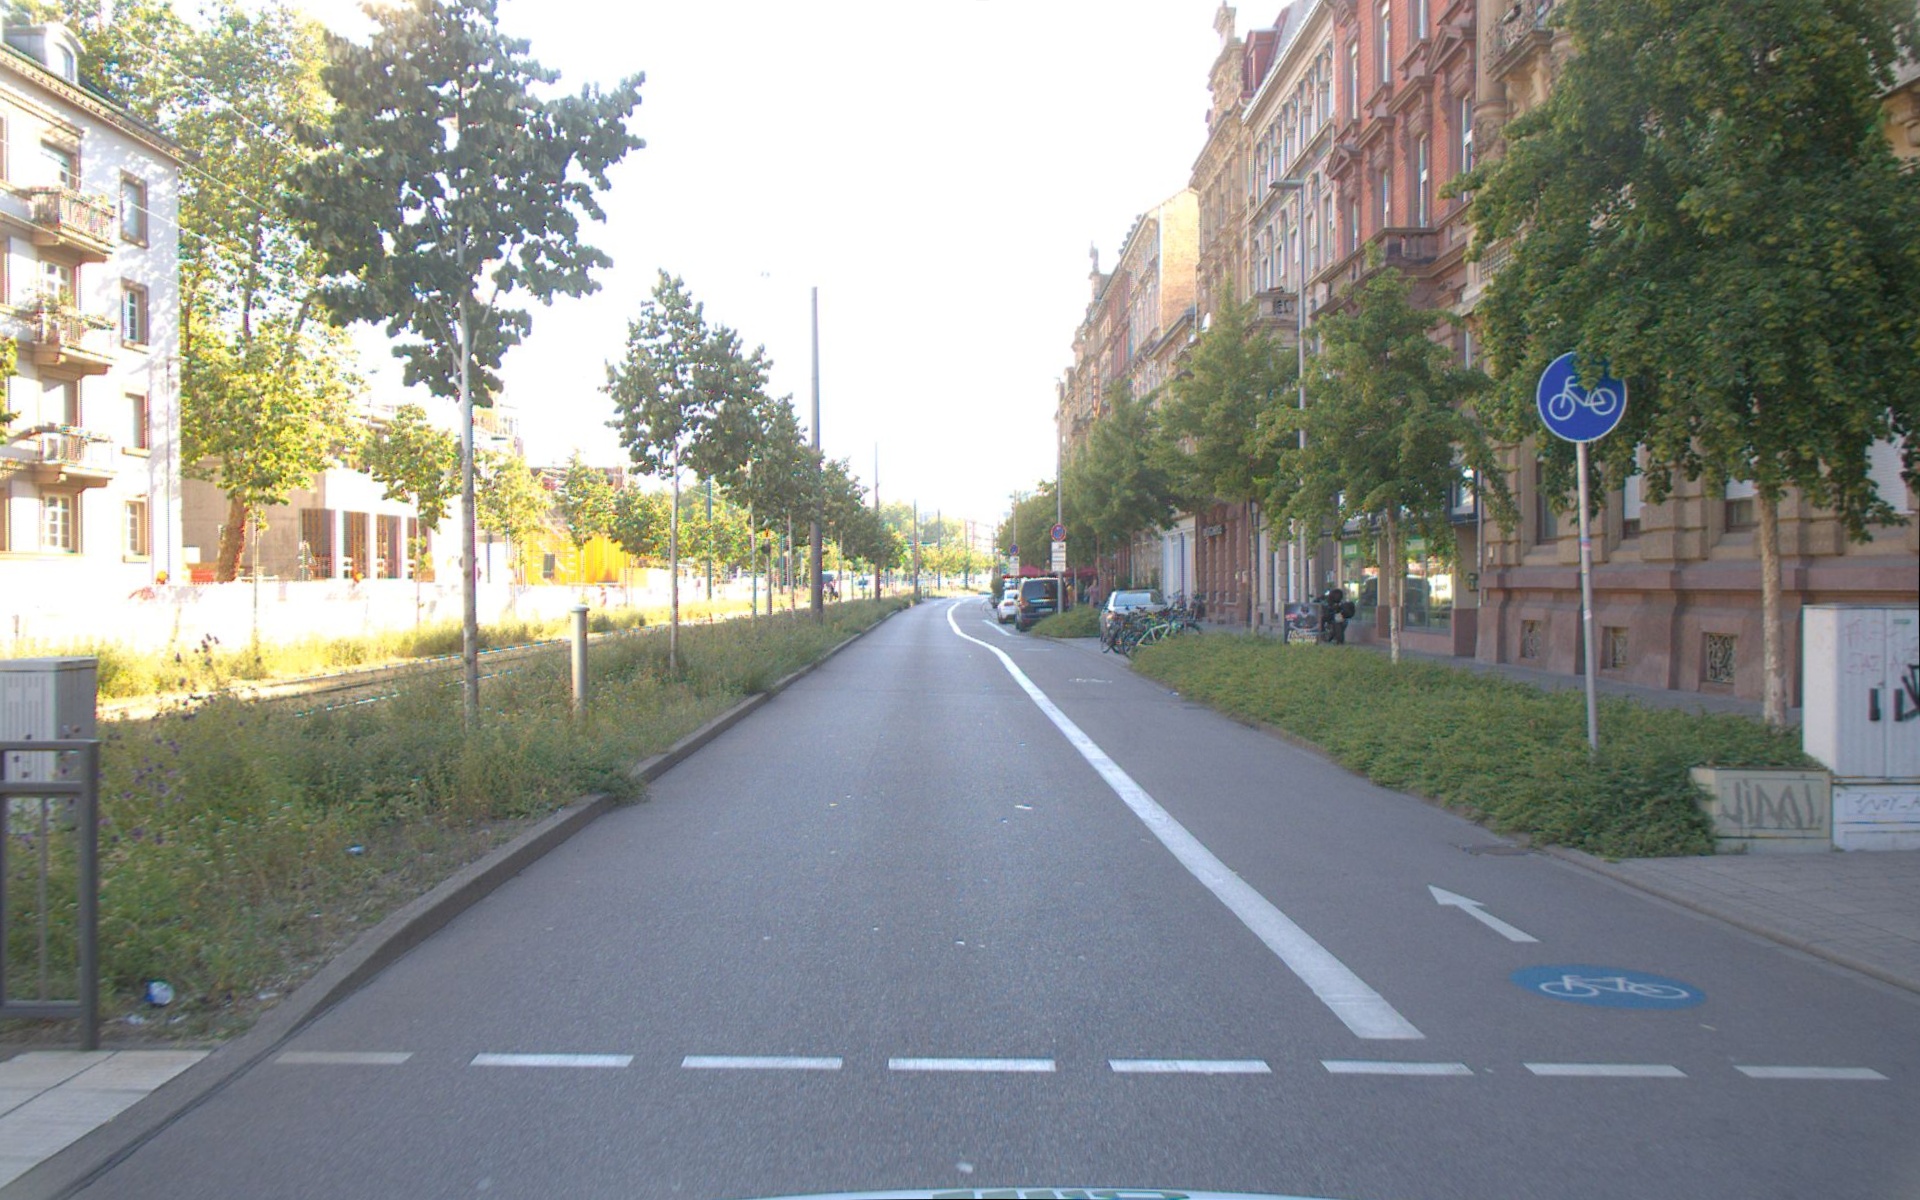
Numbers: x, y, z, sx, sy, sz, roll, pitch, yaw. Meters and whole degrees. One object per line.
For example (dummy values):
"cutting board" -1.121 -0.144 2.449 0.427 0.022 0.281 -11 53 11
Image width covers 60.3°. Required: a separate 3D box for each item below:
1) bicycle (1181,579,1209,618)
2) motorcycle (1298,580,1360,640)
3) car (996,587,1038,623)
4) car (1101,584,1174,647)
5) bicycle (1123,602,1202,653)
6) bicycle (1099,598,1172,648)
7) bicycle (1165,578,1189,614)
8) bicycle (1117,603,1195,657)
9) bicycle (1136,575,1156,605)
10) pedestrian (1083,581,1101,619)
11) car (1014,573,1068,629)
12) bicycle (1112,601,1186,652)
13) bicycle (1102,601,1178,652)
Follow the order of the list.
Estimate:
"bicycle" 9.087 -0.076 64.006 0.647 1.427 2.352 -1 1 -2
"motorcycle" 8.936 0.217 40.202 0.779 1.331 2.852 -3 1 -1
"car" 2.564 0.216 75.287 1.811 1.483 4.157 -1 1 1
"car" 4.807 0.377 45.299 1.603 1.511 4.213 -2 1 2
"bicycle" 4.498 0.605 36.781 1.660 1.066 0.488 -2 1 -9
"bicycle" 4.201 0.551 39.645 1.657 1.066 0.489 -4 0 -1
"bicycle" 8.975 -0.191 68.466 0.647 1.427 2.352 -1 1 -2
"bicycle" 4.205 0.643 35.485 1.547 1.066 0.488 -2 1 -9
"bicycle" 8.959 -0.488 79.843 0.647 1.427 2.352 -1 1 -2
"pedestrian" 5.239 -0.006 65.705 0.612 1.485 0.638 0 0 -1
"car" 2.997 0.000 61.881 1.846 1.971 4.474 -1 1 1
"bicycle" 4.259 0.594 37.313 1.547 1.066 0.488 -2 1 -9
"bicycle" 4.178 0.615 38.466 1.657 1.066 0.489 -3 1 -1
